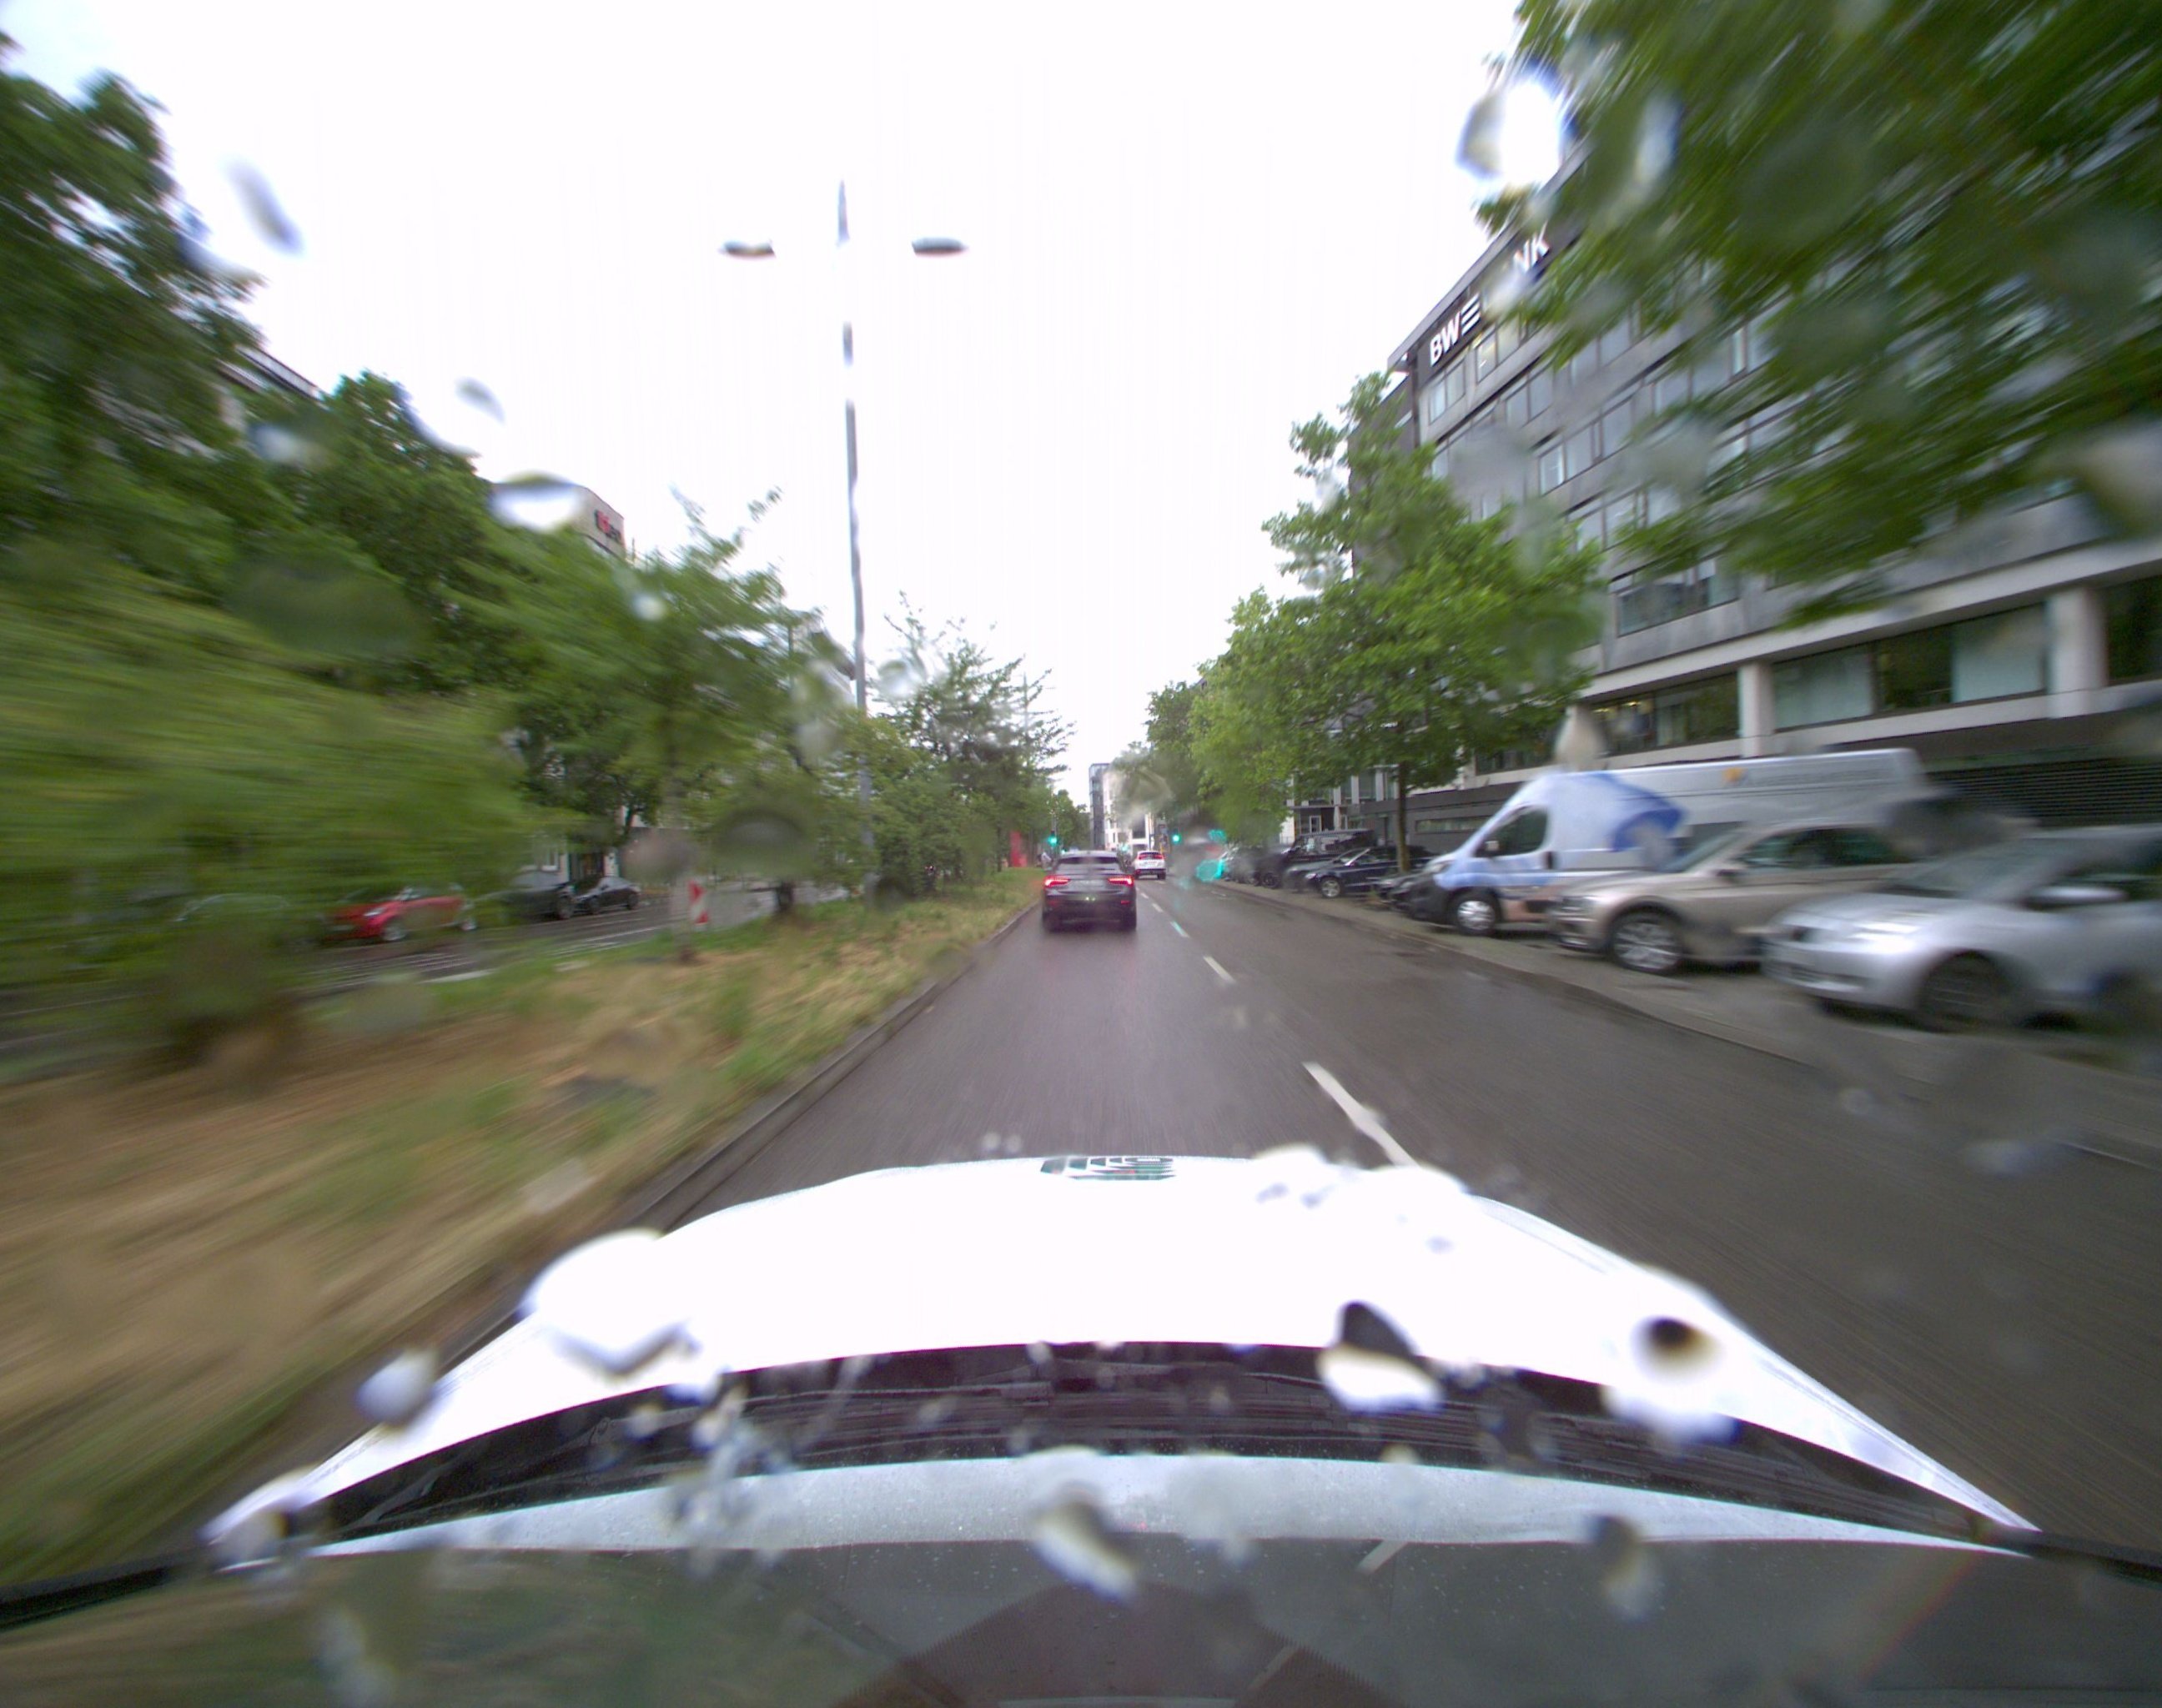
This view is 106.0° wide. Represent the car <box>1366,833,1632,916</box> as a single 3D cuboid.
[{"bbox_3d":[8.056,0.411,15.970,4.346,1.436,1.953,-2,0,28],"label":"car"}]

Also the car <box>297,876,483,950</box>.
[{"bbox_3d":[-17.790,1.458,21.206,1.682,1.519,3.623,-5,0,-2],"label":"car"}]

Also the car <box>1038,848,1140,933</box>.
[{"bbox_3d":[0.218,0.653,17.044,1.842,1.523,4.040,-1,0,2],"label":"car"}]

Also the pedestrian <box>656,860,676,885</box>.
[{"bbox_3d":[-28.276,1.246,55.515,0.992,1.645,0.676,-2,0,-5],"label":"pedestrian"}]

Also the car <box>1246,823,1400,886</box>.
[{"bbox_3d":[8.590,0.043,28.993,4.890,1.978,1.941,-3,0,28],"label":"car"}]

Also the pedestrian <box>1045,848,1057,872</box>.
[{"bbox_3d":[-2.239,0.479,61.187,0.657,1.793,0.753,-1,-1,14],"label":"pedestrian"}]

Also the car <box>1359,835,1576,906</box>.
[{"bbox_3d":[8.554,0.380,18.194,4.160,1.436,1.731,-2,0,28],"label":"car"}]

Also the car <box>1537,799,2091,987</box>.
[{"bbox_3d":[7.488,0.372,8.999,4.216,1.667,1.829,-1,0,28],"label":"car"}]

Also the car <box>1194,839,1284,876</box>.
[{"bbox_3d":[8.300,0.191,42.760,4.177,1.669,1.850,-3,0,29],"label":"car"}]

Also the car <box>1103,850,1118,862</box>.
[{"bbox_3d":[3.833,0.271,103.912,1.842,1.523,4.041,-1,0,3],"label":"car"}]

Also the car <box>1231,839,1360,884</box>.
[{"bbox_3d":[8.393,0.293,31.908,4.511,1.507,1.880,-3,0,26],"label":"car"}]

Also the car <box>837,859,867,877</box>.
[{"bbox_3d":[-21.388,1.321,76.248,1.872,1.536,4.069,-3,0,-6],"label":"car"}]

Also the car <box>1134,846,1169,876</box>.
[{"bbox_3d":[4.109,0.394,47.839,1.842,1.669,4.041,-1,0,3],"label":"car"}]

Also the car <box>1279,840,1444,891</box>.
[{"bbox_3d":[8.815,0.382,25.676,4.578,1.394,1.859,-3,-1,30],"label":"car"}]

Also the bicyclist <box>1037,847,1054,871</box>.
[{"bbox_3d":[-2.473,0.325,56.594,1.100,1.621,0.751,1,-1,1],"label":"bicyclist"}]

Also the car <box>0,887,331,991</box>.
[{"bbox_3d":[-17.947,1.558,16.127,1.763,1.434,4.671,-5,0,0],"label":"car"}]

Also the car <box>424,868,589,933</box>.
[{"bbox_3d":[-18.243,1.400,26.218,1.763,1.652,4.841,-5,0,-1],"label":"car"}]

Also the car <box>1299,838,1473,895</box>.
[{"bbox_3d":[8.541,0.360,22.892,4.323,1.436,1.773,-2,0,28],"label":"car"}]

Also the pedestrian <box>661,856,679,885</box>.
[{"bbox_3d":[-28.489,1.146,56.437,0.840,1.918,0.676,-2,0,-2],"label":"pedestrian"}]

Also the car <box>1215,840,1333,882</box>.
[{"bbox_3d":[8.289,0.290,34.983,4.738,1.534,1.877,-3,0,16],"label":"car"}]

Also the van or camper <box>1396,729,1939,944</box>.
[{"bbox_3d":[8.070,-0.138,12.090,6.008,2.558,2.118,-2,0,29],"label":"van or camper"}]

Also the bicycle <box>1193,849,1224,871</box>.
[{"bbox_3d":[8.559,0.391,54.607,1.970,1.415,0.728,-1,-1,10],"label":"bicycle"}]

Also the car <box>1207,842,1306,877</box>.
[{"bbox_3d":[8.519,0.280,39.592,4.252,1.488,1.855,-3,0,31],"label":"car"}]

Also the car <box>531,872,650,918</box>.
[{"bbox_3d":[-18.769,1.509,31.432,1.763,1.394,4.651,-5,0,-2],"label":"car"}]

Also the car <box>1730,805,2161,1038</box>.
[{"bbox_3d":[7.500,0.441,6.220,3.617,1.547,1.724,-1,0,21],"label":"car"}]

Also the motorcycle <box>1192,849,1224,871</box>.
[{"bbox_3d":[8.231,0.384,52.630,2.015,1.415,0.728,-1,-1,10],"label":"motorcycle"}]

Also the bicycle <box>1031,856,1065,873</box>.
[{"bbox_3d":[-2.274,0.751,56.581,2.246,1.162,0.751,1,-1,1],"label":"bicycle"}]

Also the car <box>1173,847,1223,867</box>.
[{"bbox_3d":[9.647,0.236,67.116,3.815,1.568,1.678,-2,-1,44],"label":"car"}]
